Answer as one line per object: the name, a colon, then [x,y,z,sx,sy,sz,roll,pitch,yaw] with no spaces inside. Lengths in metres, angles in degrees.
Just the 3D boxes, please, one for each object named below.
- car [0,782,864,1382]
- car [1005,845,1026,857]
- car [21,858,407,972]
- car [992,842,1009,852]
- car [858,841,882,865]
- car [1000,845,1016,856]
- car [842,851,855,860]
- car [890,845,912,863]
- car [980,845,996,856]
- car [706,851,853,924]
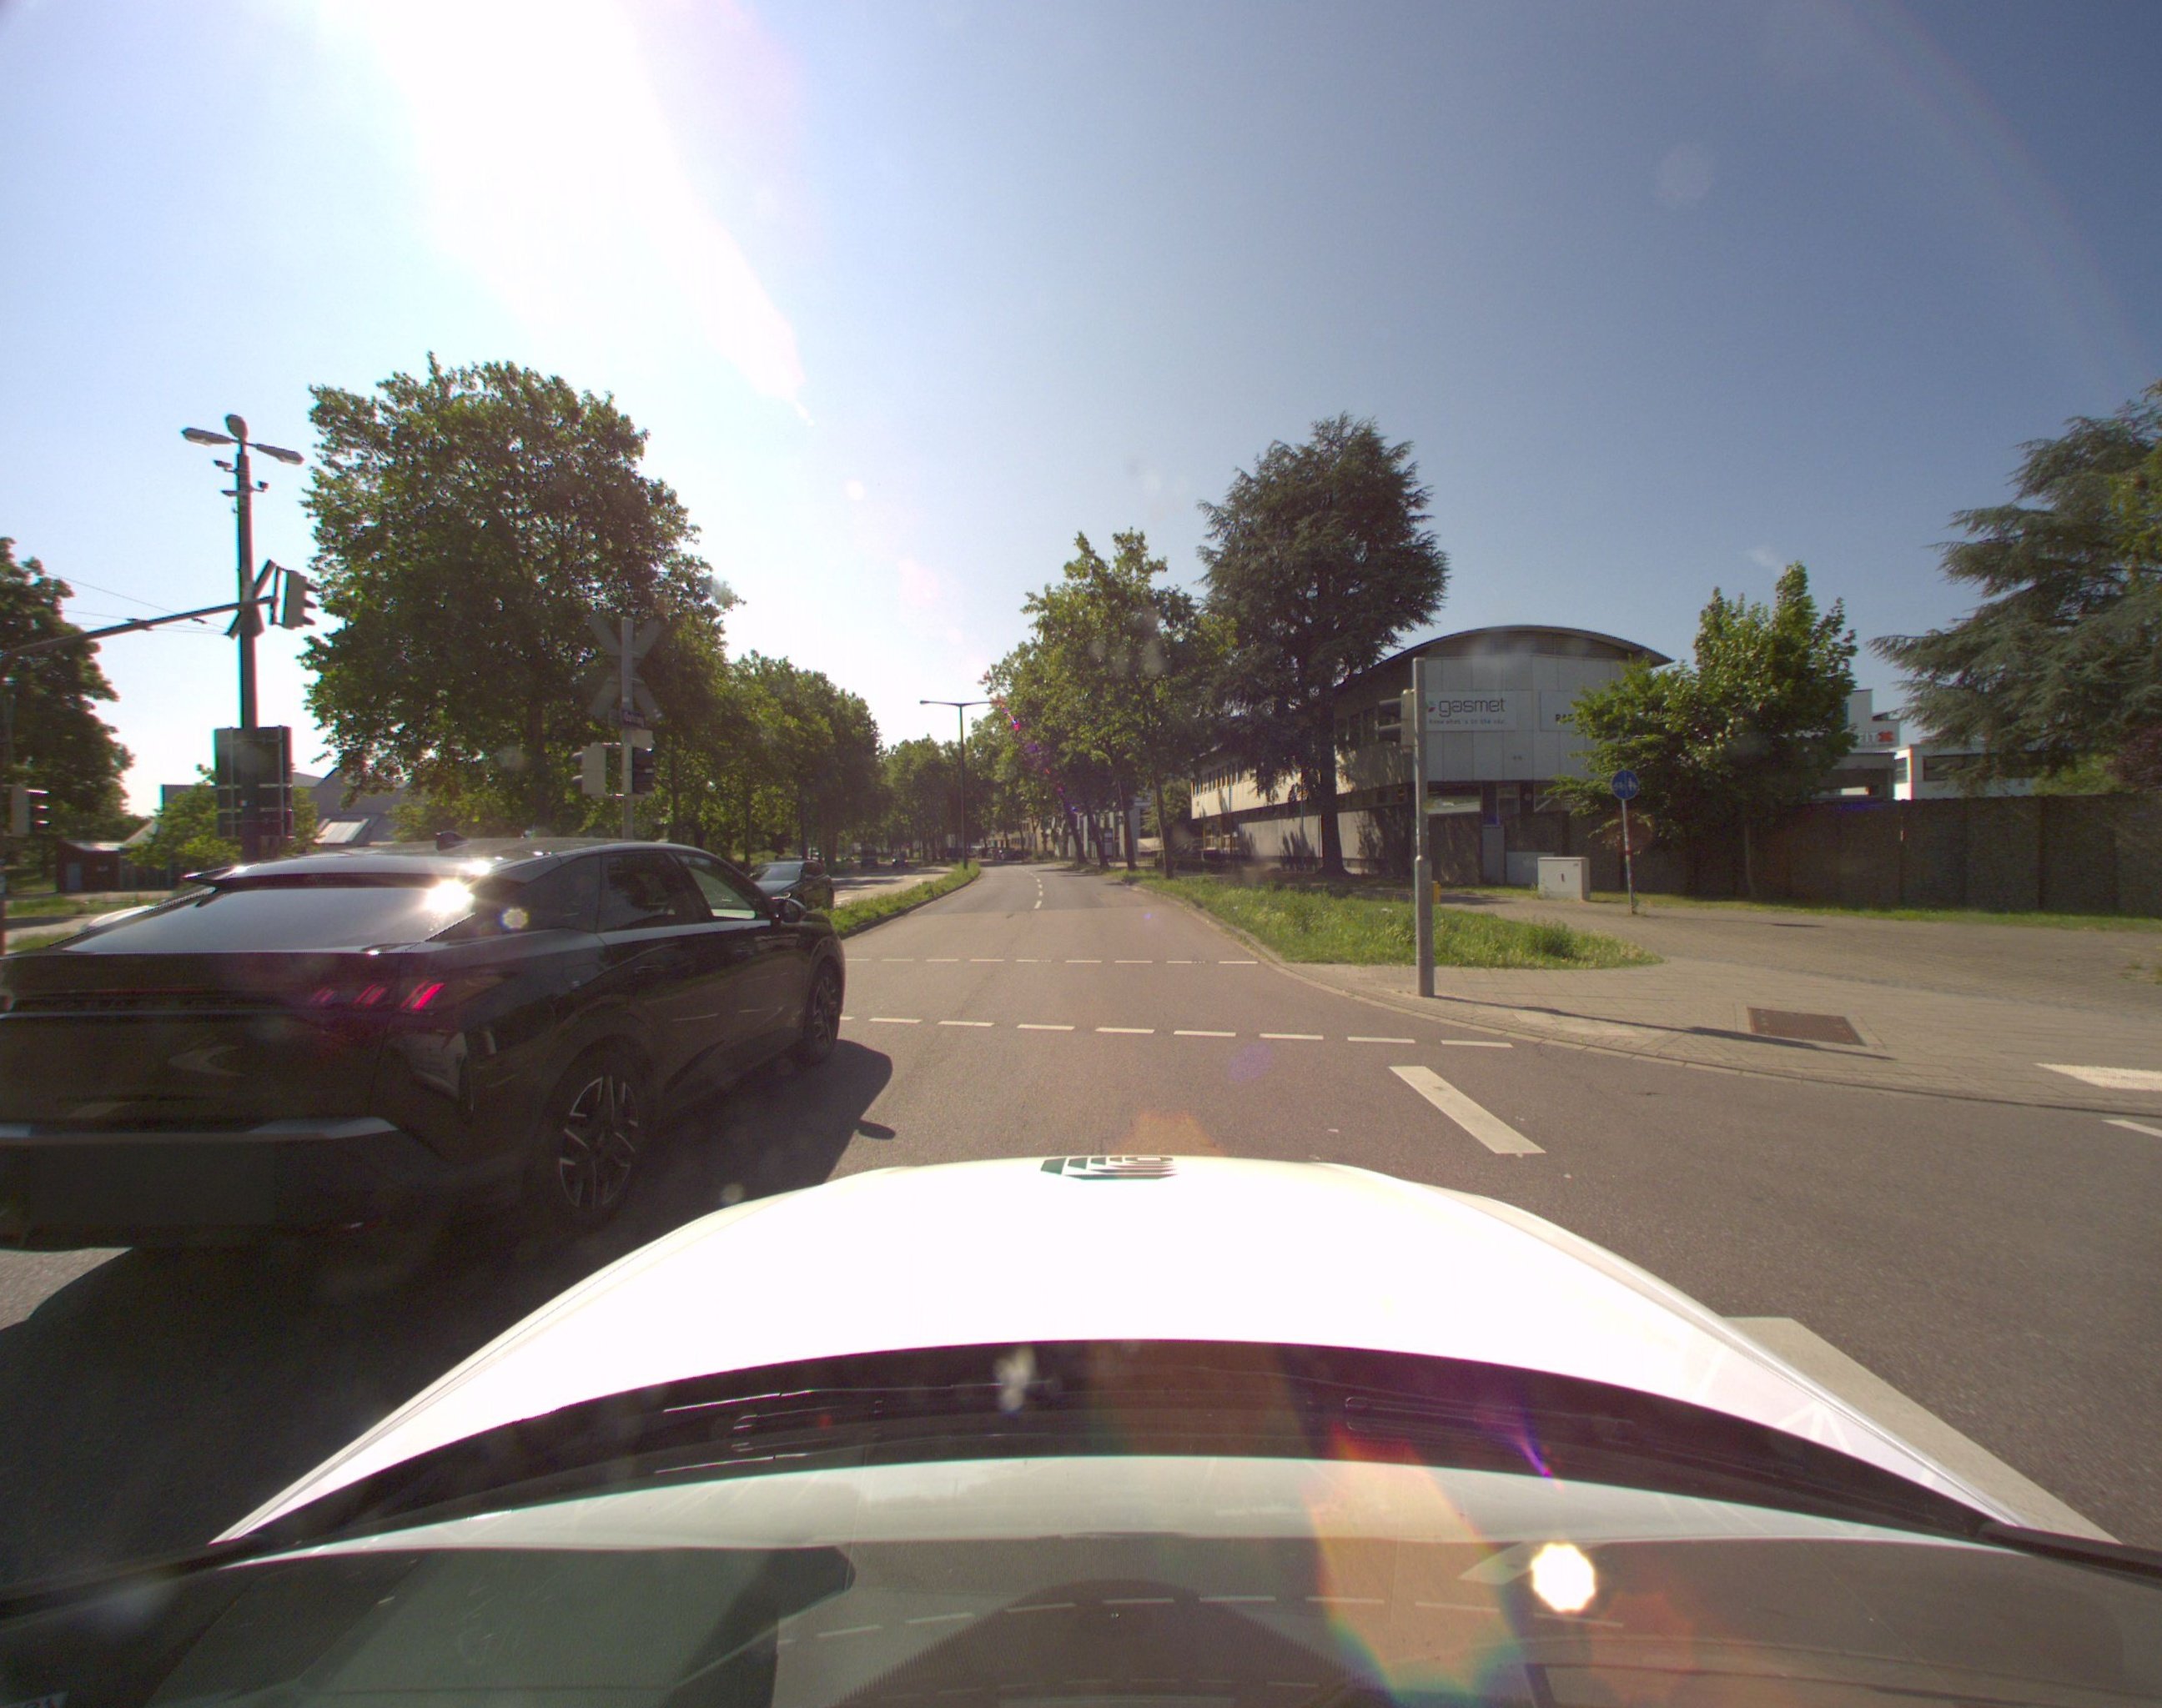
car: [-2.787,0.660,4.557,1.866,1.696,4.436,-1,0,1]
car: [-8.927,-0.446,110.492,1.711,1.487,4.690,-3,1,-18]
car: [-14.457,0.898,14.108,1.689,1.508,4.659,-1,1,-1]
car: [-11.962,-1.036,120.874,1.709,1.454,4.633,-2,1,-14]
car: [-24.921,-0.111,96.443,2.060,2.613,7.193,-2,1,-10]
car: [-10.424,-0.527,116.026,1.709,1.487,4.081,-2,1,-14]
car: [-42.204,0.232,147.998,1.796,1.556,4.378,-2,1,-12]
car: [-19.958,0.010,90.487,1.683,1.838,4.984,-2,1,-6]
car: [-15.250,-0.571,133.300,1.712,1.669,4.505,-2,1,-19]
car: [-7.274,0.742,20.128,1.685,1.508,4.137,-1,1,6]
